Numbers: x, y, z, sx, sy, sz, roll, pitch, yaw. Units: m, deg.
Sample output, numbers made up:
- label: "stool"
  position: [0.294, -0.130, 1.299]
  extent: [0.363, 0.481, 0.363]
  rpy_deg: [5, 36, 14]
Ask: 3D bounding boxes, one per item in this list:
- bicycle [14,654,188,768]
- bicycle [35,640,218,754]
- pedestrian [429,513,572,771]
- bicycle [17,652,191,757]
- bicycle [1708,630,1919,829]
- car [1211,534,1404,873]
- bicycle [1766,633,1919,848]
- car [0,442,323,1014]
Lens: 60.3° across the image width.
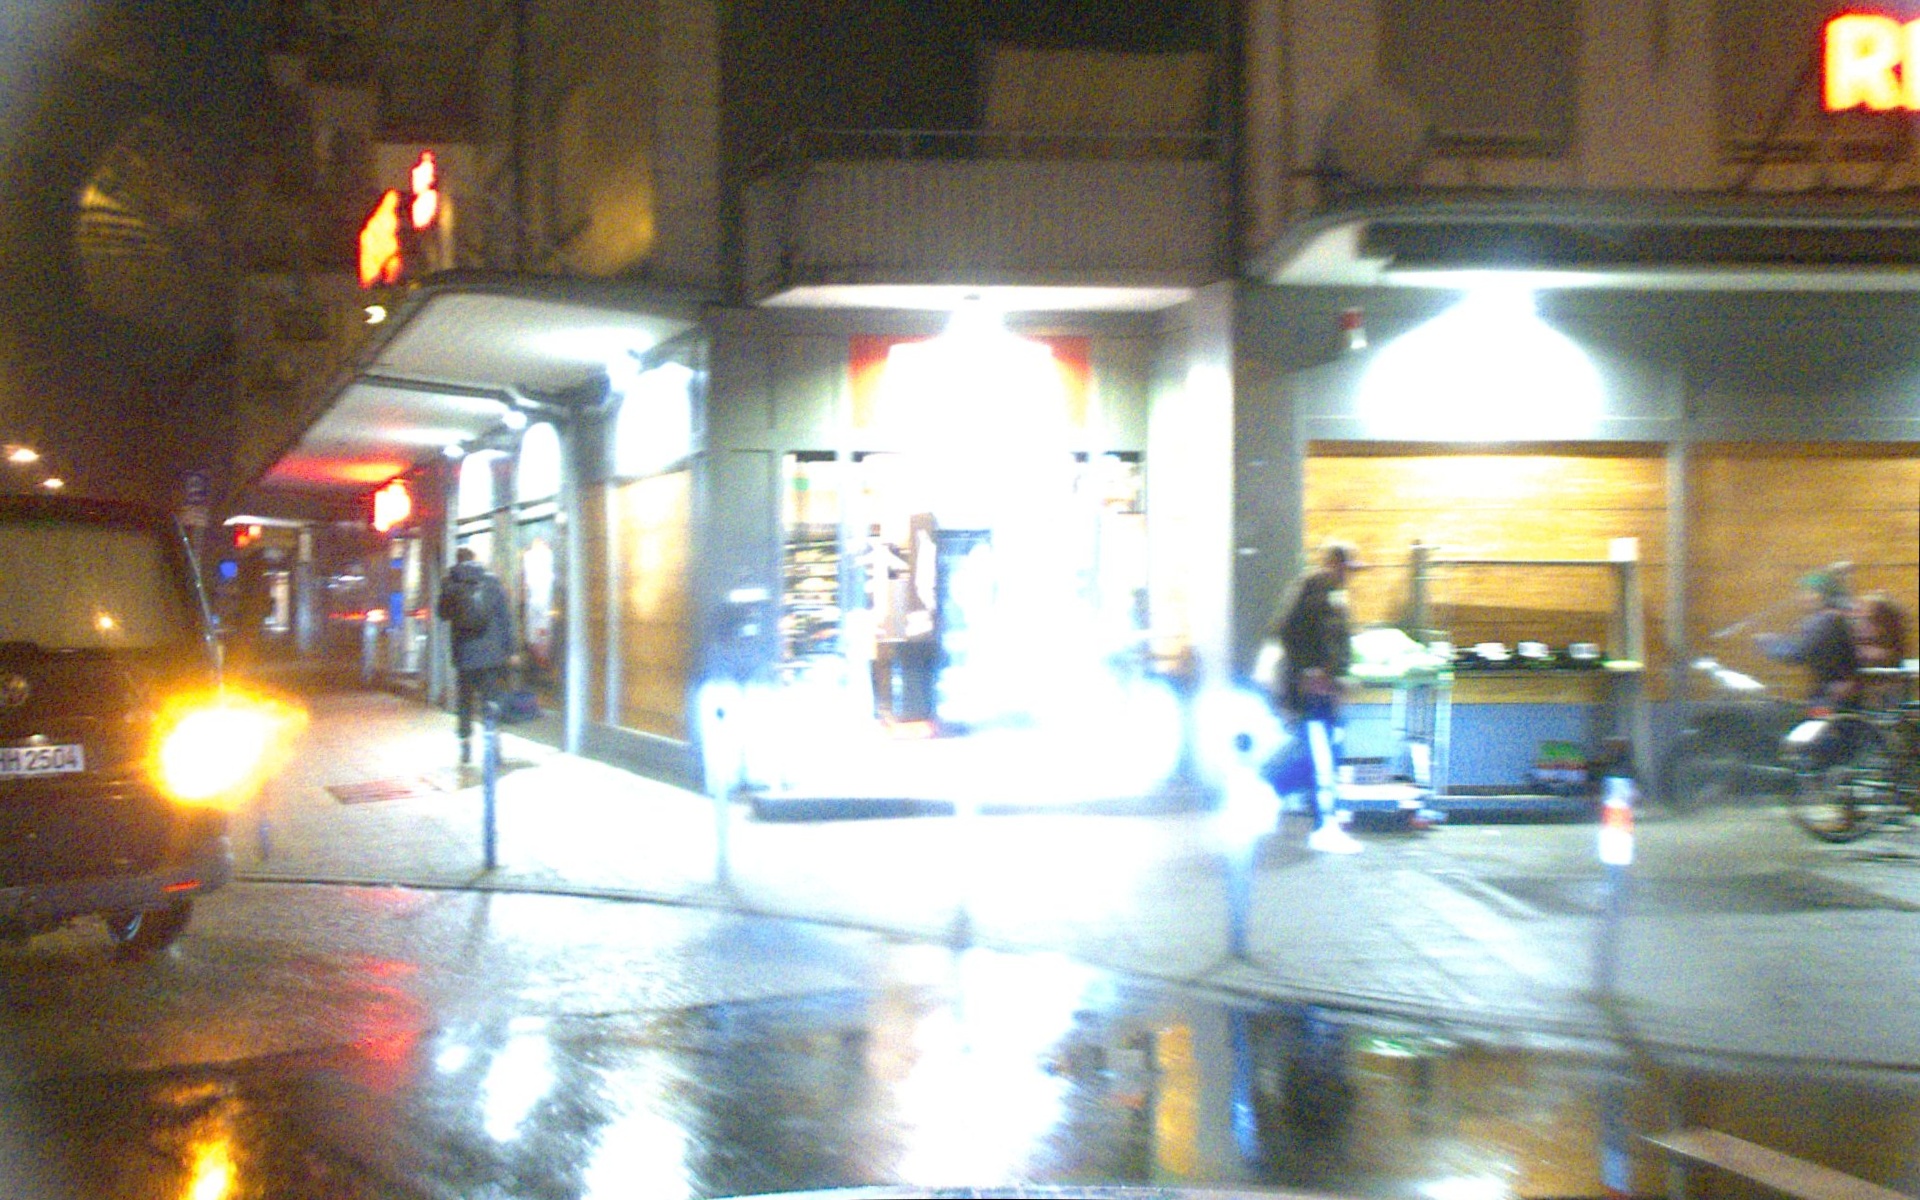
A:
- label: "bicycle"
  position: [-10.142, 1.294, 19.563]
  extent: [1.743, 1.144, 0.431]
  rpy_deg: [-4, 2, -29]
- label: "bicycle"
  position: [-9.101, 1.040, 18.093]
  extent: [1.763, 1.144, 0.431]
  rpy_deg: [-1, 0, -29]
- label: "pedestrian"
  position: [-4.201, 0.356, 15.078]
  extent: [1.041, 2.247, 0.961]
  rpy_deg: [-1, 0, -27]
- label: "bicycle"
  position: [-9.732, 1.170, 18.834]
  extent: [1.742, 1.098, 0.431]
  rpy_deg: [0, 0, -29]
- label: "bicycle"
  position: [5.570, 0.807, 10.332]
  extent: [1.608, 1.195, 0.384]
  rpy_deg: [1, -3, 1]
- label: "car"
  position: [1.995, 0.572, 9.619]
  extent: [0.941, 1.873, 0.877]
  rpy_deg: [0, 0, 1]
- label: "bicycle"
  position: [5.565, 0.791, 9.432]
  extent: [1.744, 1.194, 0.384]
  rpy_deg: [0, 0, 1]
- label: "car"
  position: [-4.951, 0.457, 7.505]
  extent: [4.521, 2.026, 2.116]
  rpy_deg: [0, -1, 43]
